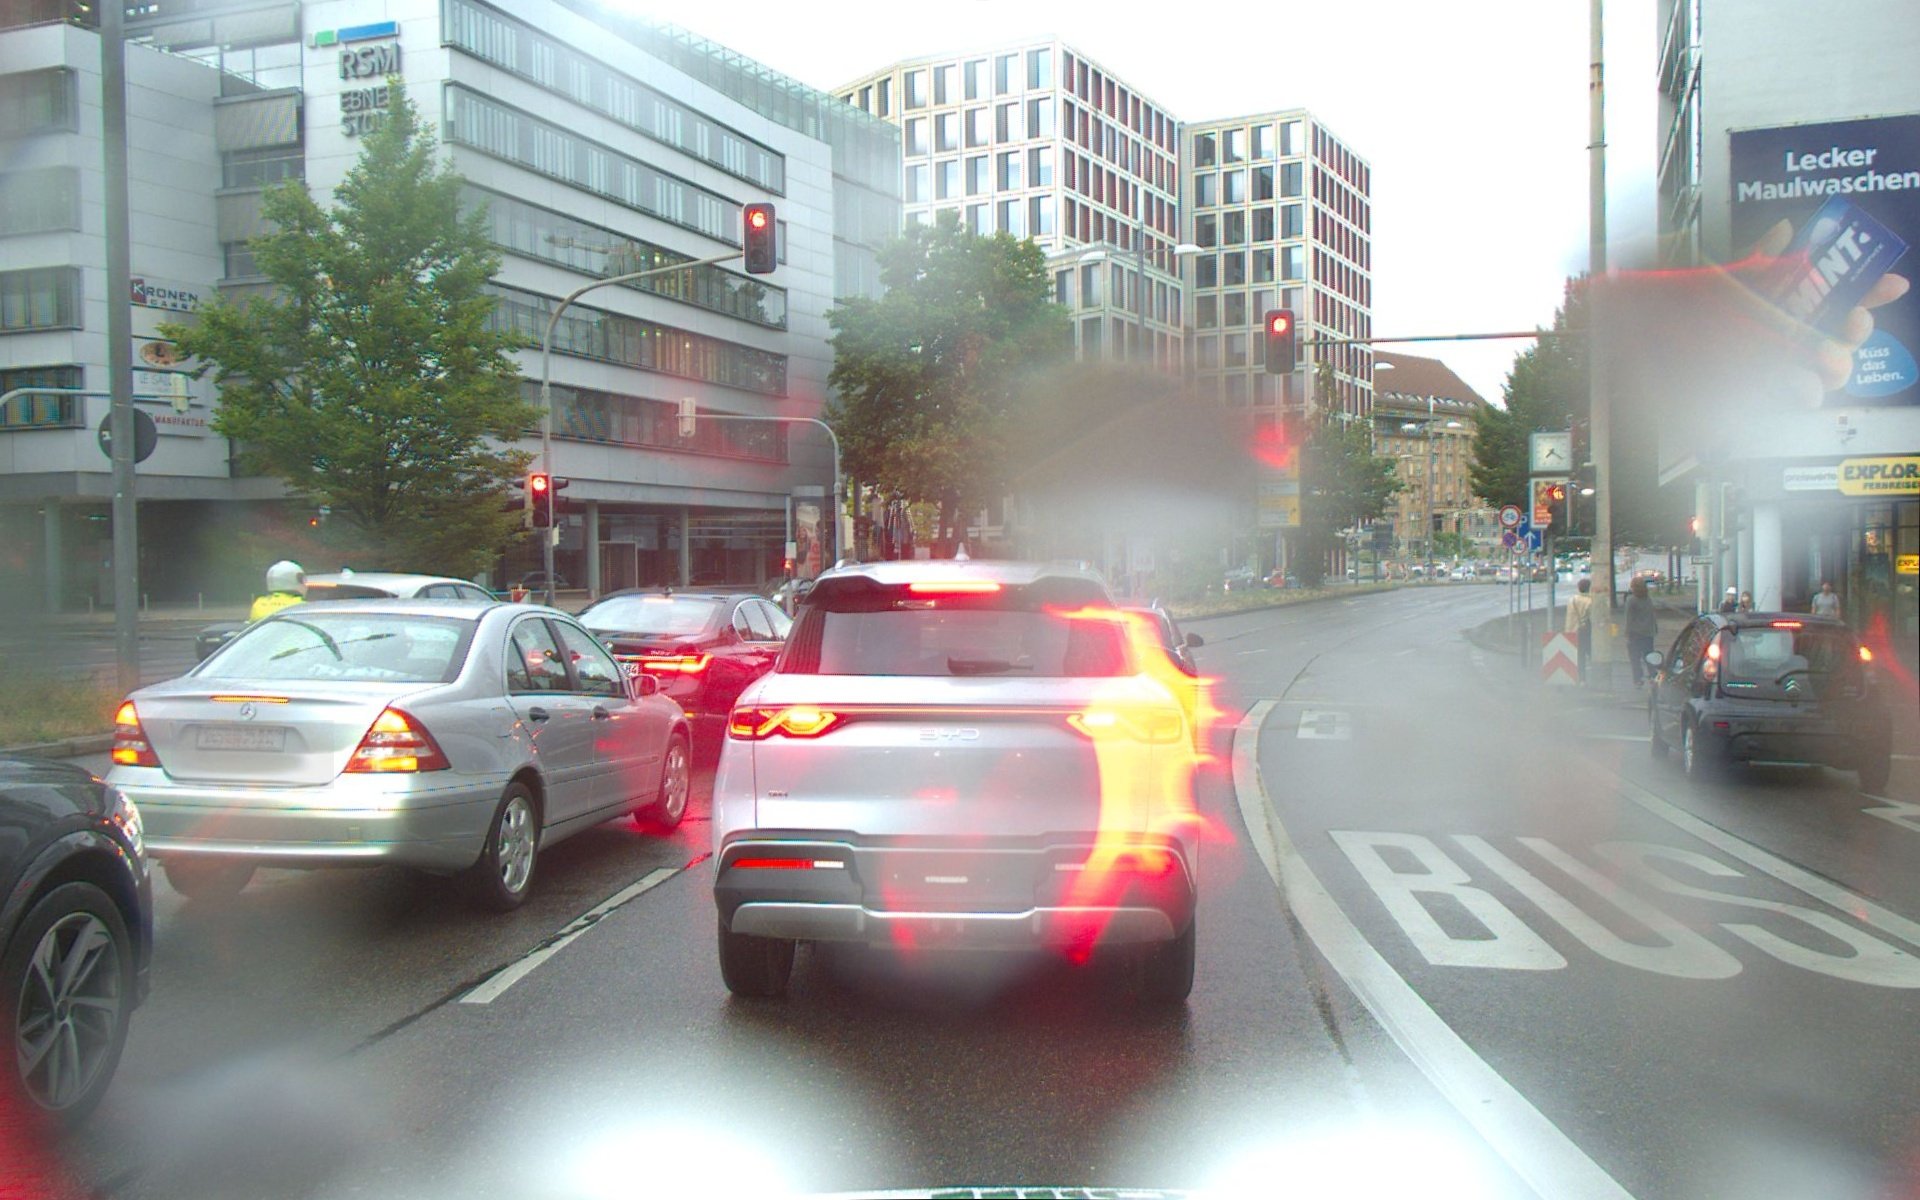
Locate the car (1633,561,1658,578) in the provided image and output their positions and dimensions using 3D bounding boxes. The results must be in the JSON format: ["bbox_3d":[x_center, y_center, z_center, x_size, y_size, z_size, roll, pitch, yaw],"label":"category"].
[{"bbox_3d":[62.755,-2.784,151.335,1.662,1.512,3.993,1,0,29],"label":"car"}]

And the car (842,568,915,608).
[{"bbox_3d":[-3.372,-0.474,69.075,1.605,1.598,3.717,1,0,23],"label":"car"}]

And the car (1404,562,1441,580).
[{"bbox_3d":[54.720,-3.445,195.811,3.908,2.049,1.998,1,0,26],"label":"car"}]

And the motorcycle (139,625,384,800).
[{"bbox_3d":[-5.304,0.808,12.730,0.783,1.205,2.030,1,0,8],"label":"motorcycle"}]

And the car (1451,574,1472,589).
[{"bbox_3d":[48.260,-1.796,159.200,1.598,1.462,3.907,0,1,23],"label":"car"}]

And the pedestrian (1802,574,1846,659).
[{"bbox_3d":[18.727,0.350,35.854,0.659,1.825,0.768,1,0,43],"label":"pedestrian"}]

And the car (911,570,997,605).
[{"bbox_3d":[-0.217,-0.596,75.791,1.778,1.536,5.190,0,1,27],"label":"car"}]

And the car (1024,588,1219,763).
[{"bbox_3d":[1.735,0.675,16.637,1.657,1.512,4.003,1,0,10],"label":"car"}]

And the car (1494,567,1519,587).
[{"bbox_3d":[48.265,-2.017,146.067,1.849,1.671,4.000,1,1,22],"label":"car"}]

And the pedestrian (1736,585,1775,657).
[{"bbox_3d":[17.610,0.466,36.618,0.615,1.570,0.649,1,0,43],"label":"pedestrian"}]

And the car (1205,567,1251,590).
[{"bbox_3d":[18.151,-1.474,111.760,1.955,1.514,3.996,0,1,27],"label":"car"}]

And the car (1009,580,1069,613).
[{"bbox_3d":[4.046,-0.214,83.886,1.598,1.586,4.592,0,1,23],"label":"car"}]

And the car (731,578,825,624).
[{"bbox_3d":[-6.756,0.024,61.758,1.952,1.639,4.001,1,1,20],"label":"car"}]

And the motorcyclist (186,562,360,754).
[{"bbox_3d":[-5.285,0.430,12.786,0.753,1.404,1.119,1,0,8],"label":"motorcyclist"}]

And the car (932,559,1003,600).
[{"bbox_3d":[0.330,-0.839,68.407,1.610,1.608,4.086,1,0,21],"label":"car"}]

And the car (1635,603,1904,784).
[{"bbox_3d":[7.480,0.780,15.635,1.537,1.454,4.003,1,0,15],"label":"car"}]

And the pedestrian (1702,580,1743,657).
[{"bbox_3d":[17.081,0.409,37.039,0.659,1.684,0.649,1,0,43],"label":"pedestrian"}]

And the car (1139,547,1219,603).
[{"bbox_3d":[8.659,-0.945,64.919,1.953,2.049,4.848,1,0,22],"label":"car"}]

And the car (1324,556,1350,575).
[{"bbox_3d":[37.425,-3.422,164.117,1.577,1.771,3.437,1,0,31],"label":"car"}]

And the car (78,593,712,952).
[{"bbox_3d":[-2.643,0.709,8.831,1.537,1.432,4.112,1,0,7],"label":"car"}]

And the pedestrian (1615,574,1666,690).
[{"bbox_3d":[11.029,0.502,26.828,0.733,1.829,0.817,0,1,20],"label":"pedestrian"}]

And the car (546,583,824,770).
[{"bbox_3d":[-2.431,0.635,15.564,1.537,1.512,4.003,1,0,6],"label":"car"}]

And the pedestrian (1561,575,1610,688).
[{"bbox_3d":[10.315,0.509,27.288,0.733,1.829,0.817,0,1,20],"label":"pedestrian"}]

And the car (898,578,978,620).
[{"bbox_3d":[-0.735,-0.014,58.759,1.655,1.409,3.870,1,0,18],"label":"car"}]

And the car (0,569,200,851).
[{"bbox_3d":[-6.230,0.597,8.867,1.826,1.560,4.780,1,1,4],"label":"car"}]

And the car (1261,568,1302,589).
[{"bbox_3d":[23.853,-1.623,122.617,1.955,1.514,3.996,0,1,27],"label":"car"}]

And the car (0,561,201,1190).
[{"bbox_3d":[-3.154,0.677,2.976,1.614,1.548,4.271,1,1,0],"label":"car"}]

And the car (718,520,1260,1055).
[{"bbox_3d":[0.138,0.615,7.375,1.739,1.708,4.000,1,0,1],"label":"car"}]

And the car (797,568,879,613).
[{"bbox_3d":[-4.337,-0.342,59.280,1.609,1.563,4.155,1,0,16],"label":"car"}]

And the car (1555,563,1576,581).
[{"bbox_3d":[73.938,-3.409,201.915,1.954,2.049,3.996,1,0,26],"label":"car"}]

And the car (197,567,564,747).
[{"bbox_3d":[-5.462,0.491,16.168,1.670,1.512,4.003,1,0,9],"label":"car"}]
